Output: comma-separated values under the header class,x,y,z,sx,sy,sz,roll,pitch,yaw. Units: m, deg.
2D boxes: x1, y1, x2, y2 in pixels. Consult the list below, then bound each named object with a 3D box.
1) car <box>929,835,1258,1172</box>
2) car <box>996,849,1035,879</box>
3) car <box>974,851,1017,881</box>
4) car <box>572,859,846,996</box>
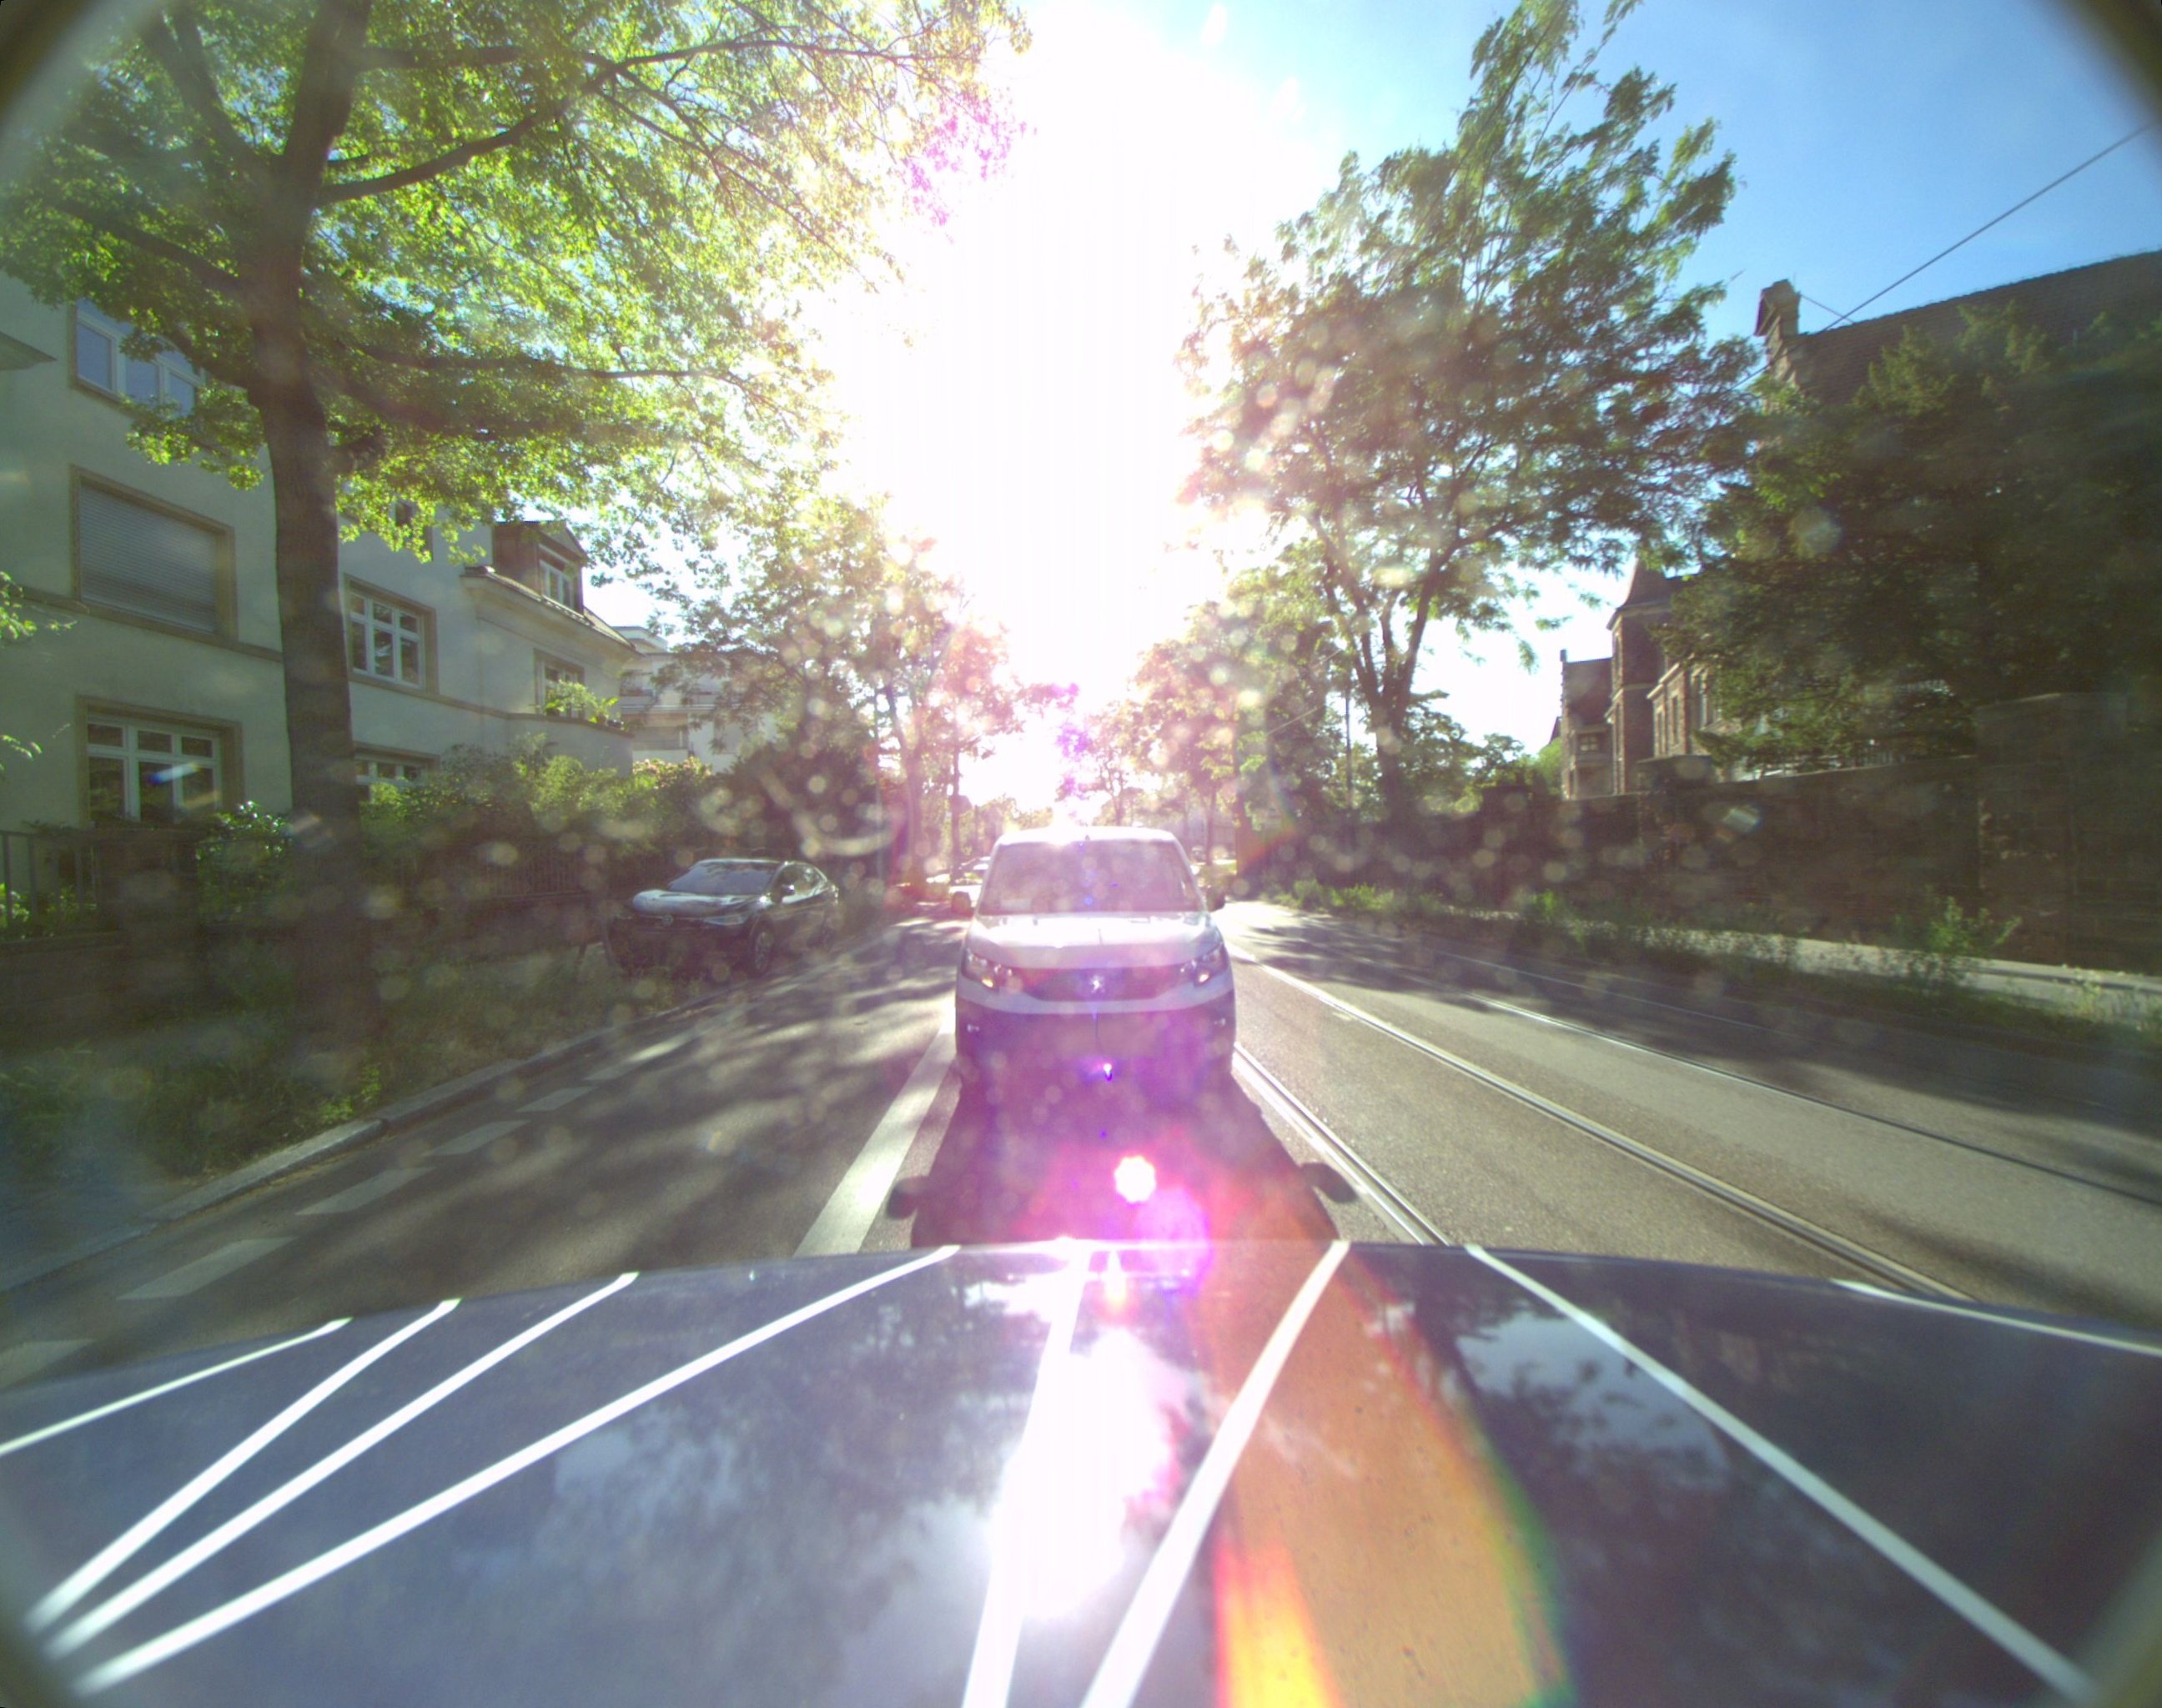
class,x,y,z,sx,sy,sz,roll,pitch,yaw
car,0.061,0.806,6.133,1.768,1.812,3.999,-1,0,0
car,-4.424,0.644,51.903,2.129,1.884,4.746,-2,0,1
car,-5.053,0.668,45.227,1.823,1.630,4.001,-2,0,4
car,-5.258,0.937,11.553,1.999,1.665,4.380,1,-1,0
